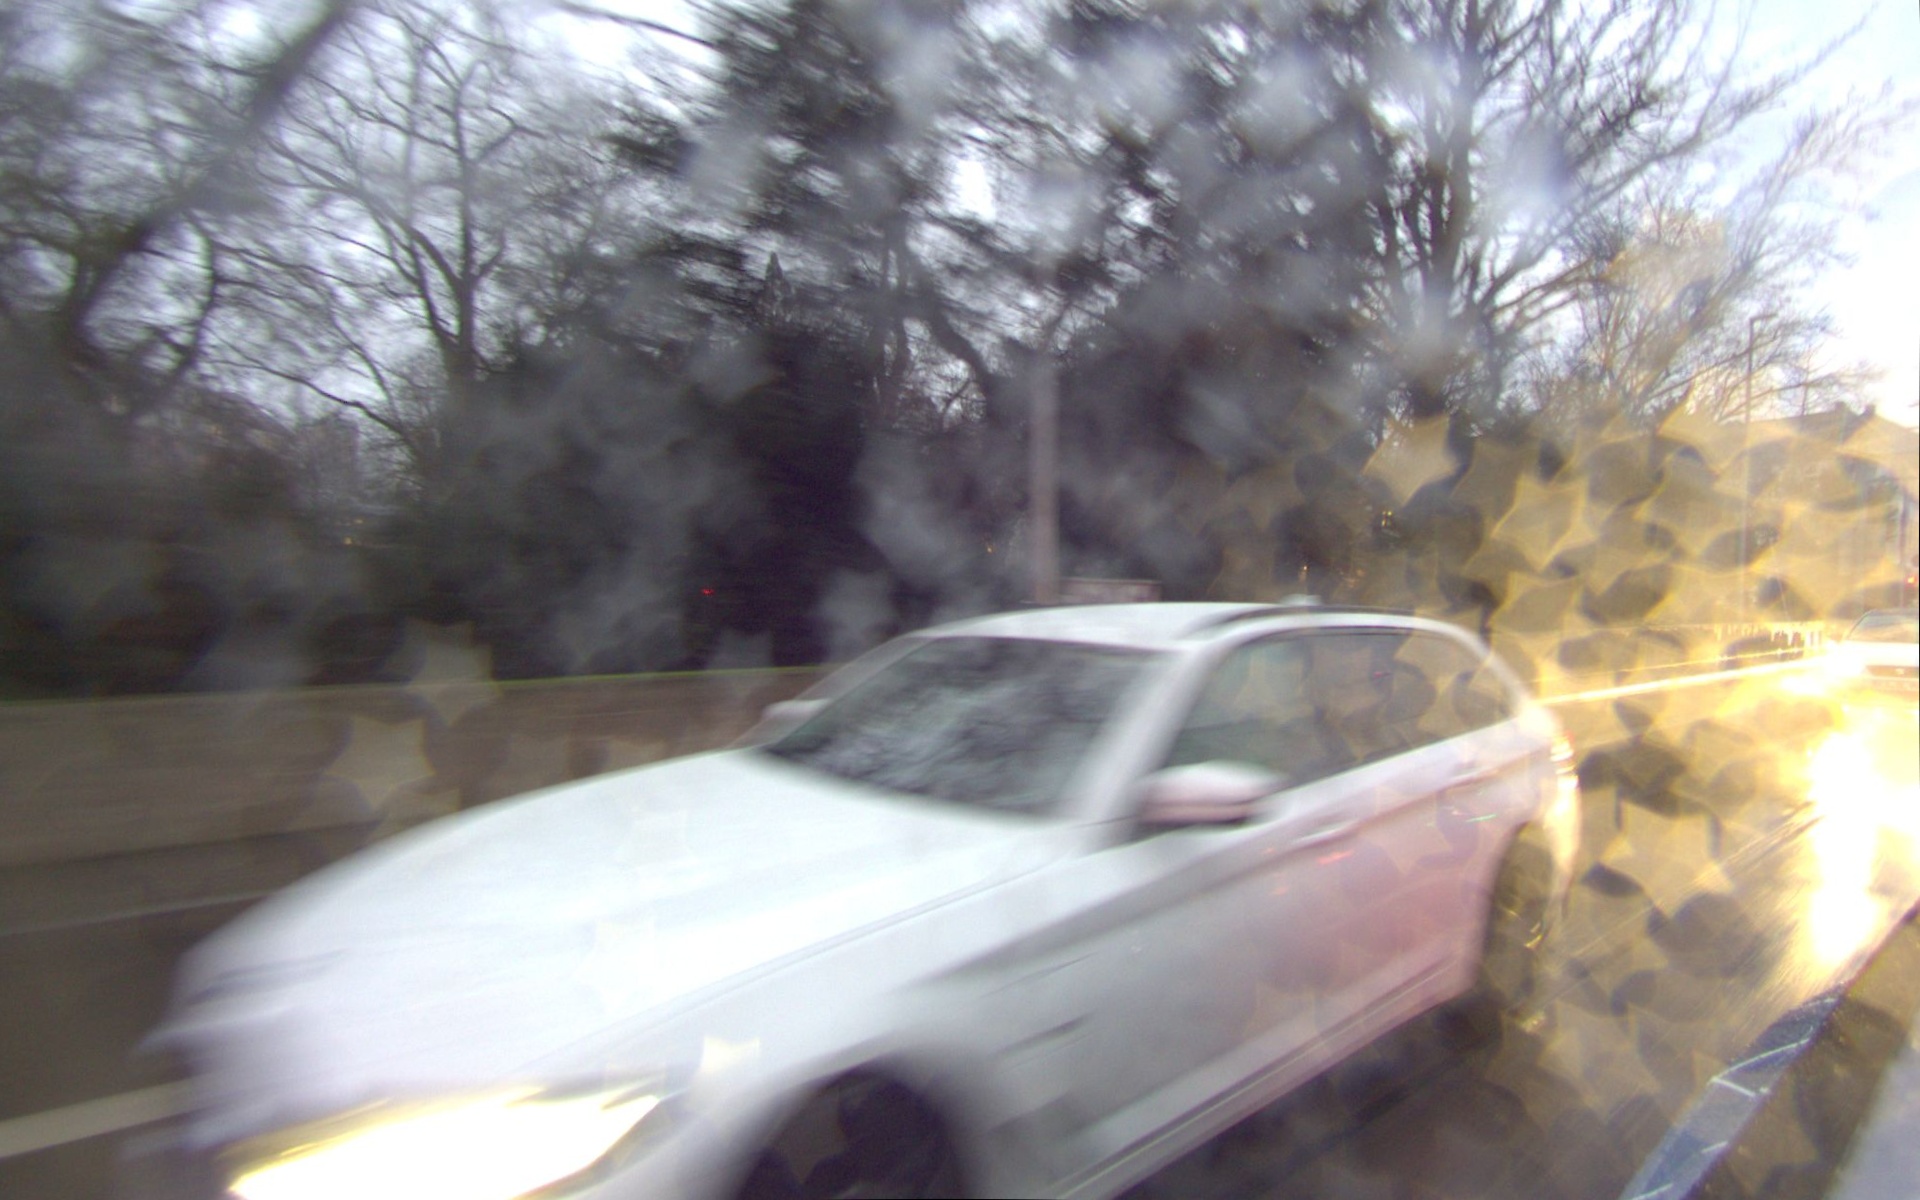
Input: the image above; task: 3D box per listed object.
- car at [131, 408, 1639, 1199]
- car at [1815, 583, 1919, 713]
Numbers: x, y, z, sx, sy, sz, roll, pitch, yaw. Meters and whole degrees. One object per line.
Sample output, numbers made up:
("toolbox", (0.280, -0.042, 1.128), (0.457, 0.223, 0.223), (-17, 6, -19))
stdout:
("car", (0.385, 0.551, 3.375), (4.851, 1.575, 1.866), (0, 2, -41))
("car", (13.384, 0.605, 13.810), (4.096, 1.580, 1.886), (0, 2, -39))
